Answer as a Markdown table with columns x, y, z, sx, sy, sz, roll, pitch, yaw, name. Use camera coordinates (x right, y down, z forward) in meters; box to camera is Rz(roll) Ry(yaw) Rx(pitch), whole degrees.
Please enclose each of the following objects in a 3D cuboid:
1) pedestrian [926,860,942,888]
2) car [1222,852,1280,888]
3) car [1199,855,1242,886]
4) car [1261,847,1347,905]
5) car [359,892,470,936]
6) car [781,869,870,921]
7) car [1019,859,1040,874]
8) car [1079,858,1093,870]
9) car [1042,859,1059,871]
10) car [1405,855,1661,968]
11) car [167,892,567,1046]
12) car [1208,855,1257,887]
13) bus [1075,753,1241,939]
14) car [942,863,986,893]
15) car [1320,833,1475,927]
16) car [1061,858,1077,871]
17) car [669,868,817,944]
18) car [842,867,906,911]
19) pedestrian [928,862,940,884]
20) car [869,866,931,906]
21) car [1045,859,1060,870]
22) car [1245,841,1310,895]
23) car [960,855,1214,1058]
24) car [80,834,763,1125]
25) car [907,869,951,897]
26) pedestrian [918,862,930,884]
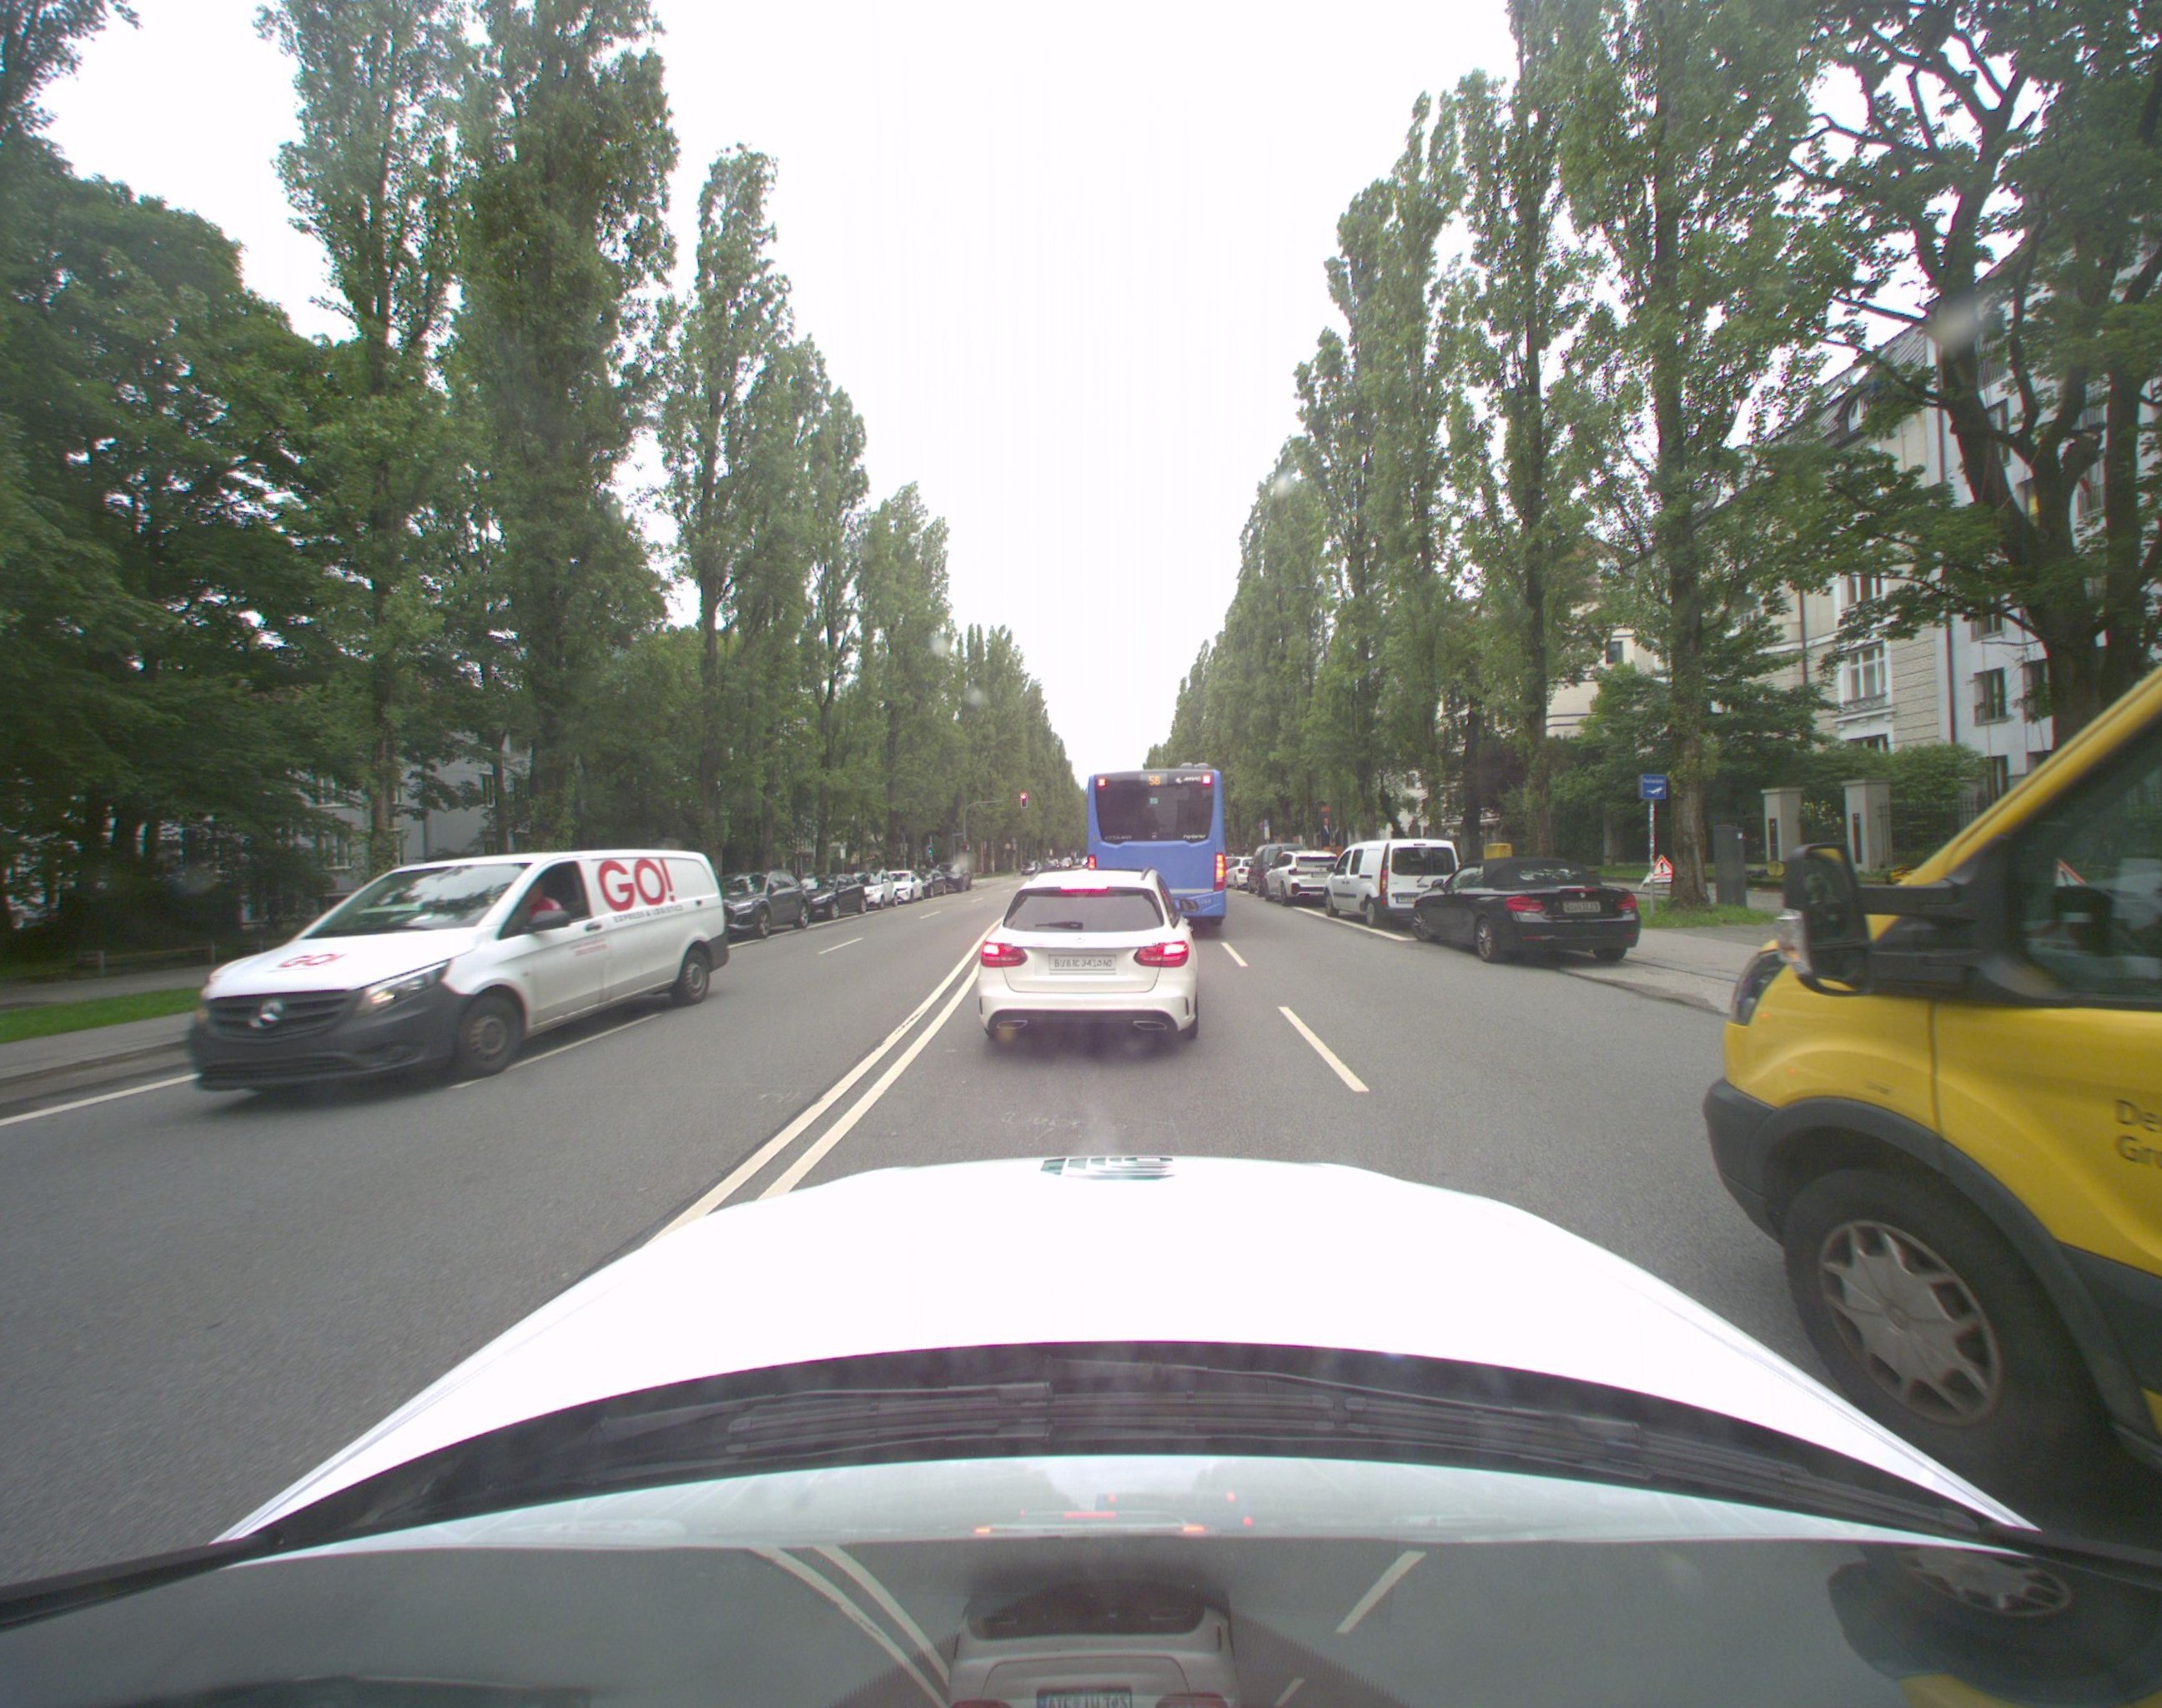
| x | y | z | sx | sy | sz | roll | pitch | yaw | name |
| --- | --- | --- | --- | --- | --- | --- | --- | --- | --- |
| -9.739 | 1.319 | 53.936 | 0.819 | 1.764 | 1.081 | -2 | 0 | 0 | pedestrian |
| 7.525 | 0.682 | 36.327 | 1.792 | 1.475 | 4.001 | -2 | 0 | 1 | car |
| 7.930 | 0.899 | 46.629 | 1.802 | 1.618 | 4.001 | -2 | 0 | 1 | car |
| 6.678 | 0.616 | 24.759 | 1.671 | 1.596 | 4.090 | 0 | 0 | 3 | car |
| -31.799 | 2.820 | 39.042 | 1.991 | 1.684 | 4.258 | -2 | 0 | -5 | car |
| -8.400 | 1.290 | 27.093 | 1.534 | 1.433 | 3.870 | -5 | -1 | 1 | car |
| -5.528 | 1.304 | 88.242 | 1.814 | 1.486 | 4.002 | -2 | 0 | 2 | car |
| 0.750 | 1.404 | 118.205 | 1.986 | 1.619 | 4.002 | -2 | 0 | 2 | car |
| -4.011 | 1.432 | 107.537 | 1.814 | 1.486 | 4.002 | -2 | 0 | 2 | car |
| 6.341 | 0.712 | 12.003 | 1.739 | 1.354 | 4.004 | -2 | 0 | 4 | car |
| -9.058 | 1.350 | 10.891 | 1.679 | 1.413 | 4.006 | -4 | 0 | 1 | car |
| 7.659 | 0.817 | 41.470 | 1.779 | 1.492 | 4.001 | -2 | 0 | 1 | car |
| 2.027 | -0.127 | 18.899 | 2.839 | 3.213 | 9.081 | -1 | 0 | 9 | bus |
| -6.712 | 1.369 | 47.073 | 1.700 | 1.552 | 4.003 | -2 | 0 | 3 | car |
| 6.642 | 0.506 | 17.621 | 1.826 | 1.773 | 4.231 | 0 | 0 | 1 | car |
| -1.566 | 1.364 | 105.675 | 1.814 | 1.486 | 4.002 | -2 | 0 | 2 | car |
| -8.485 | 1.245 | 20.937 | 1.784 | 1.548 | 4.340 | -5 | -1 | 1 | car |
| -8.064 | 1.315 | 32.034 | 1.404 | 1.552 | 3.447 | -2 | 0 | 3 | car |
| -13.560 | 1.732 | 75.141 | 0.827 | 2.013 | 0.778 | -2 | 0 | 0 | pedestrian |
| -7.899 | 1.348 | 35.898 | 1.702 | 1.548 | 4.001 | -3 | 0 | 1 | car |
| -4.035 | 1.454 | 116.905 | 1.814 | 1.486 | 4.002 | -2 | 0 | 2 | car |
| 7.154 | 0.470 | 29.974 | 1.696 | 1.836 | 4.004 | -1 | 0 | 4 | car |
| 0.223 | 0.763 | 8.193 | 1.817 | 1.454 | 4.588 | -1 | 0 | 5 | car |
| -5.724 | 0.889 | 8.509 | 2.174 | 1.891 | 5.700 | -4 | 0 | 3 | car |
| -7.691 | 1.440 | 41.523 | 1.284 | 1.273 | 3.852 | -2 | 0 | 3 | car |
| -14.447 | 1.754 | 74.972 | 0.827 | 2.013 | 0.778 | -2 | 0 | 0 | pedestrian |
